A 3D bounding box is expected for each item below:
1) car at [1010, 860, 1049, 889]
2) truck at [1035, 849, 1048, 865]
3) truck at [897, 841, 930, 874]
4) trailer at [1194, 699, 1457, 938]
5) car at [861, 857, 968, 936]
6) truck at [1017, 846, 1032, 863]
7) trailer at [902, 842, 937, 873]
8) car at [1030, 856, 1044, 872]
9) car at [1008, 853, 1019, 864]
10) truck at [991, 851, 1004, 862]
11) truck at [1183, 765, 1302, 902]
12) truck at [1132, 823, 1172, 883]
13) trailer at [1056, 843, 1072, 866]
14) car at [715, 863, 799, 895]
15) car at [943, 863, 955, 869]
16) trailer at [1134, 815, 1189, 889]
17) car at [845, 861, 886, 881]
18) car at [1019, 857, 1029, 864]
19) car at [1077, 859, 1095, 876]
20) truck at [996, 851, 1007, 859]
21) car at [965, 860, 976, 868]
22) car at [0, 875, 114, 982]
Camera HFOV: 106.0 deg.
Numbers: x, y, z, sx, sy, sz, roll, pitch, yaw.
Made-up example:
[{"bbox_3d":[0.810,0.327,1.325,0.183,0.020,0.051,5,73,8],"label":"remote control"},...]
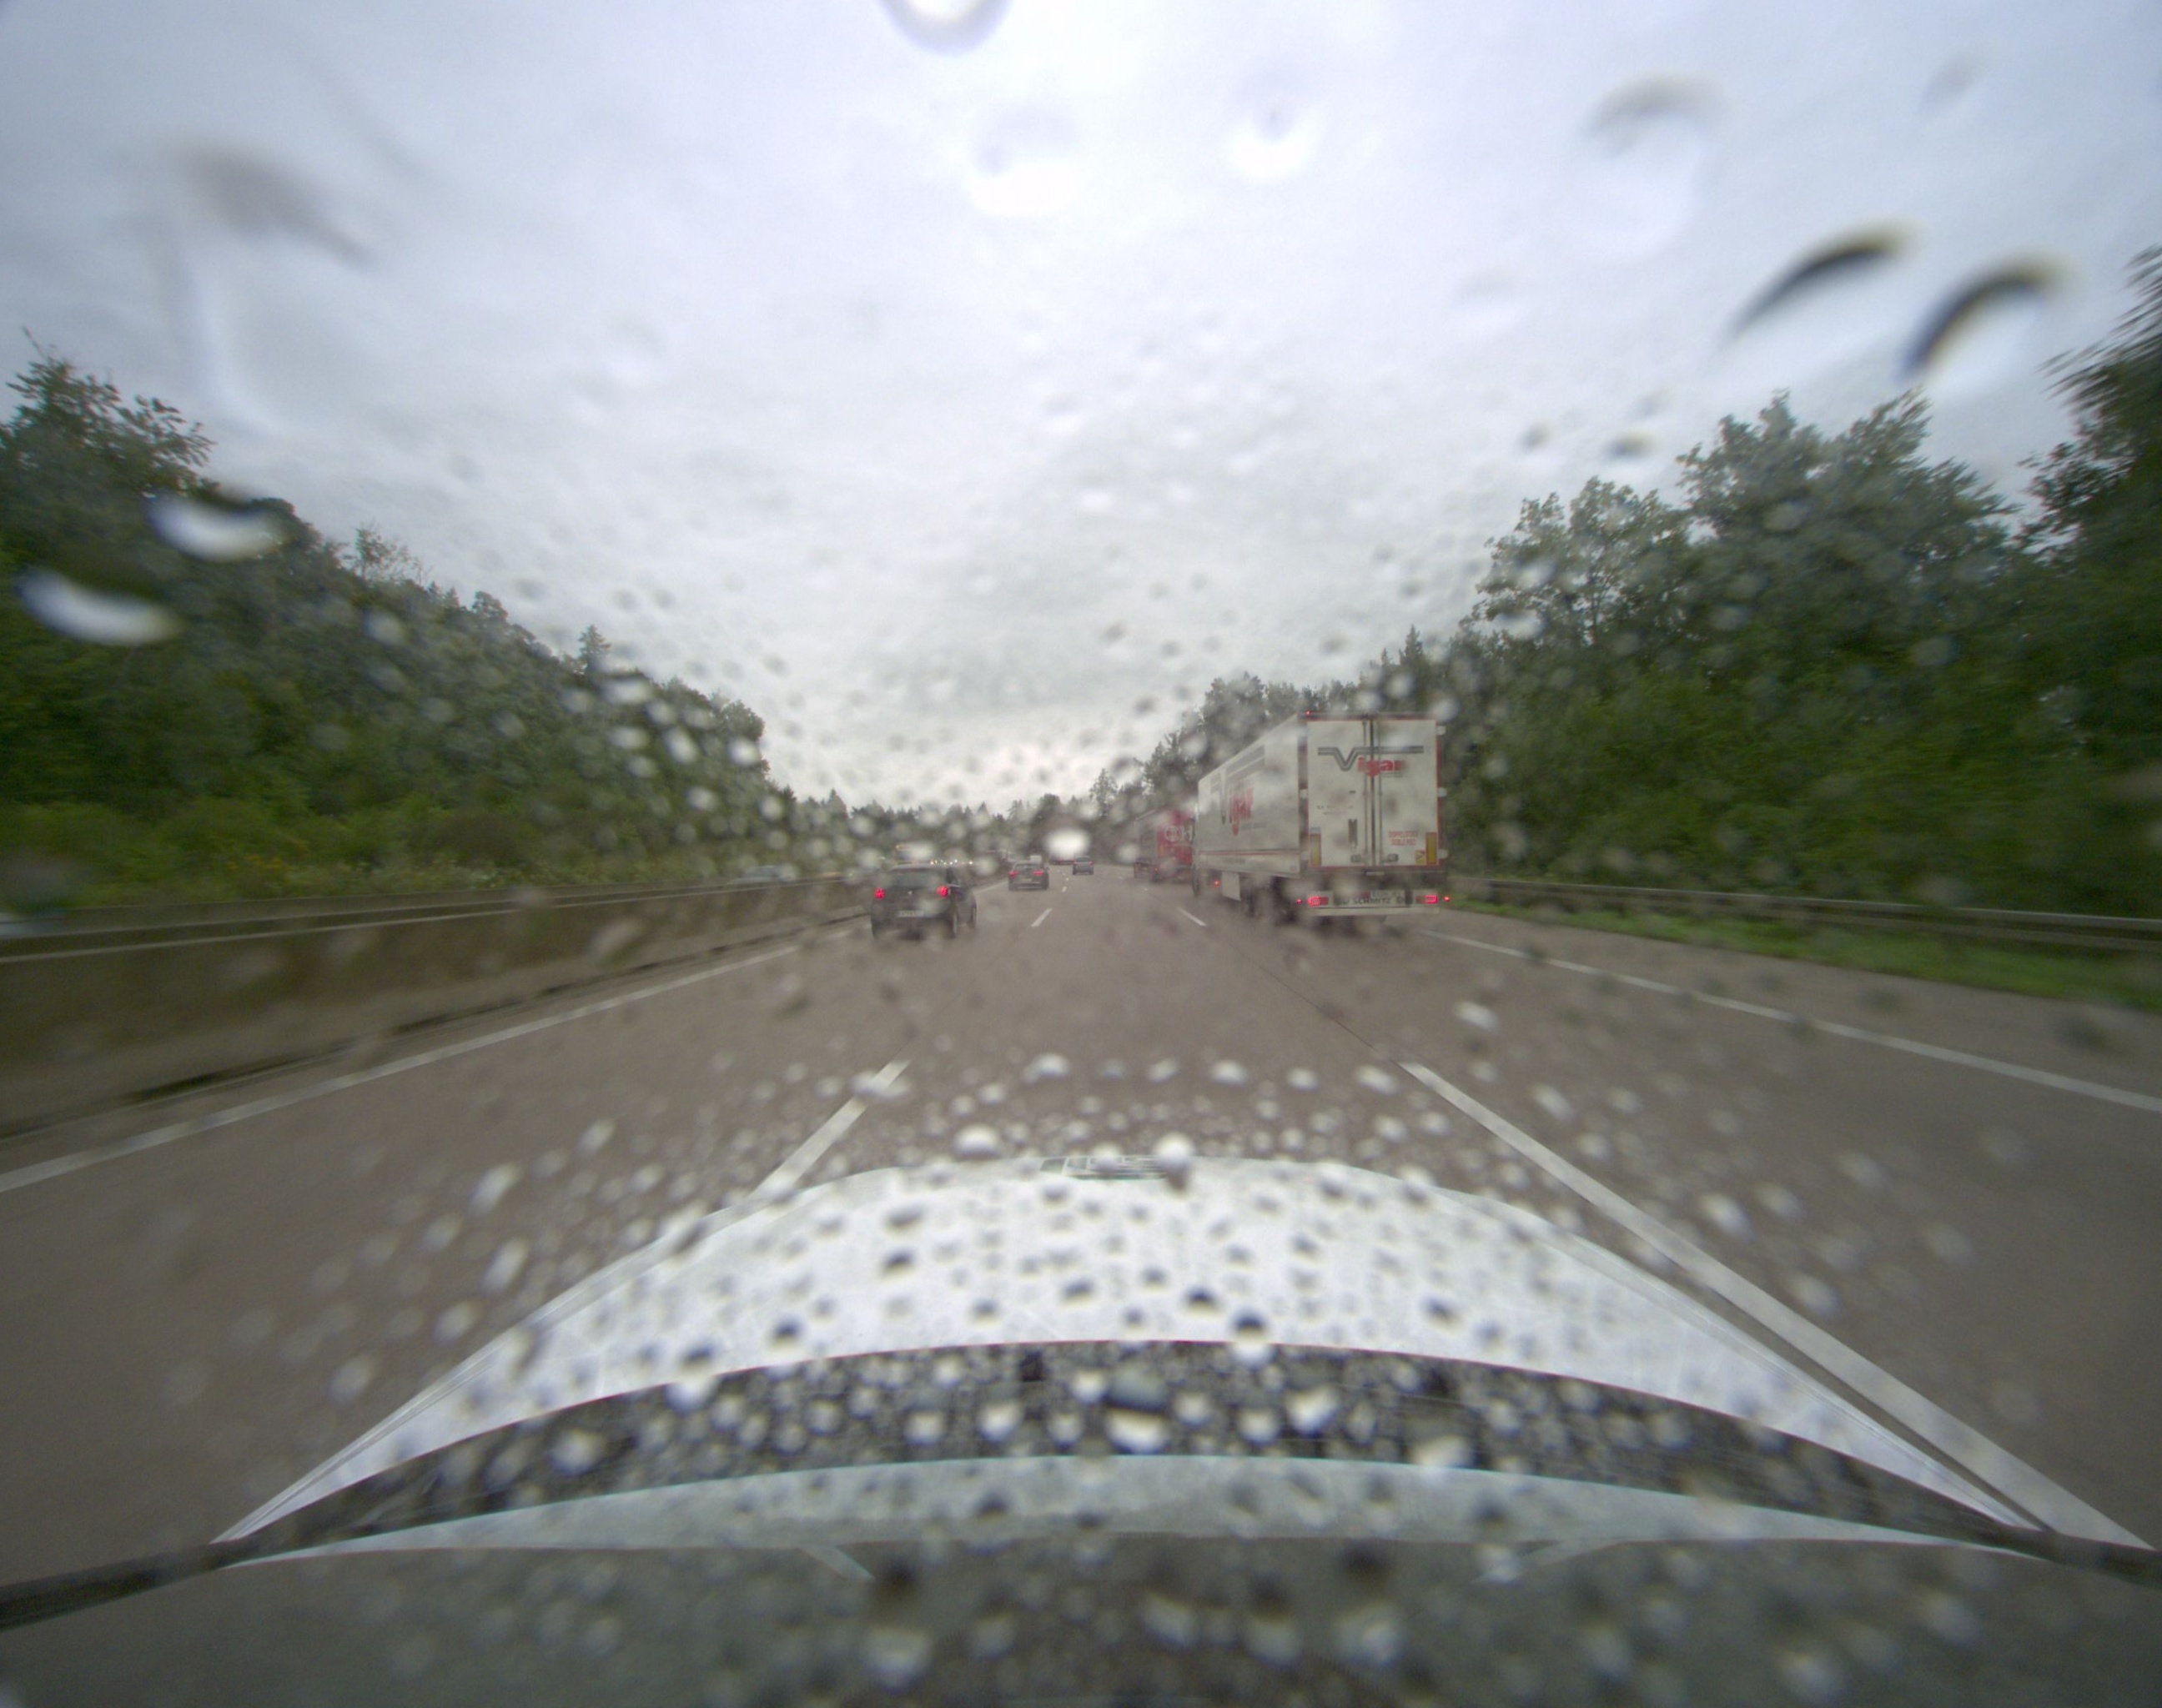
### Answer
[{"bbox_3d":[-2.514,0.968,40.156,1.548,1.351,3.685,1,0,2],"label":"car"},{"bbox_3d":[-7.585,0.538,154.658,2.265,2.887,7.891,-1,0,-4],"label":"truck"},{"bbox_3d":[-21.010,0.420,102.463,3.021,3.874,8.102,-1,0,-5],"label":"truck"},{"bbox_3d":[5.188,-0.609,20.970,2.725,4.103,13.682,-1,0,1],"label":"trailer"},{"bbox_3d":[-3.373,0.803,17.095,1.680,1.462,3.679,1,0,-4],"label":"car"},{"bbox_3d":[-14.172,-0.006,203.385,3.365,4.131,10.416,-1,0,-6],"label":"truck"},{"bbox_3d":[-21.604,0.467,109.498,3.009,3.874,13.677,-1,0,-5],"label":"trailer"},{"bbox_3d":[-6.158,1.375,113.420,1.723,2.013,3.650,-2,0,-5],"label":"car"},{"bbox_3d":[-13.156,0.800,158.388,1.992,2.059,3.989,-2,0,-8],"label":"car"},{"bbox_3d":[-22.082,0.618,214.559,3.082,2.905,7.878,0,1,-9],"label":"truck"},{"bbox_3d":[5.268,-0.631,27.676,2.789,4.103,5.967,-1,0,0],"label":"truck"},{"bbox_3d":[4.968,-0.056,57.835,2.367,3.954,6.160,-1,0,1],"label":"truck"},{"bbox_3d":[-3.296,0.040,151.552,2.415,4.068,12.038,-1,0,-4],"label":"trailer"},{"bbox_3d":[-14.752,1.109,37.382,1.795,1.333,4.567,1,0,3],"label":"car"},{"bbox_3d":[-25.460,2.345,157.349,1.650,1.198,4.540,-1,0,-3],"label":"car"},{"bbox_3d":[4.719,-0.079,49.906,2.362,3.954,12.523,-1,0,1],"label":"trailer"},{"bbox_3d":[-15.468,1.176,58.676,1.796,1.333,4.563,-1,0,0],"label":"car"},{"bbox_3d":[-12.118,1.459,173.398,1.880,1.473,3.990,1,0,-7],"label":"car"},{"bbox_3d":[0.431,1.161,71.562,1.549,1.351,3.682,1,0,-1],"label":"car"},{"bbox_3d":[-22.839,0.337,233.959,2.972,2.309,6.650,1,0,-7],"label":"truck"},{"bbox_3d":[-20.676,1.822,152.558,1.649,1.479,4.540,-1,0,-3],"label":"car"},{"bbox_3d":[-15.099,1.006,9.611,1.652,1.371,4.723,-1,0,2],"label":"car"}]
